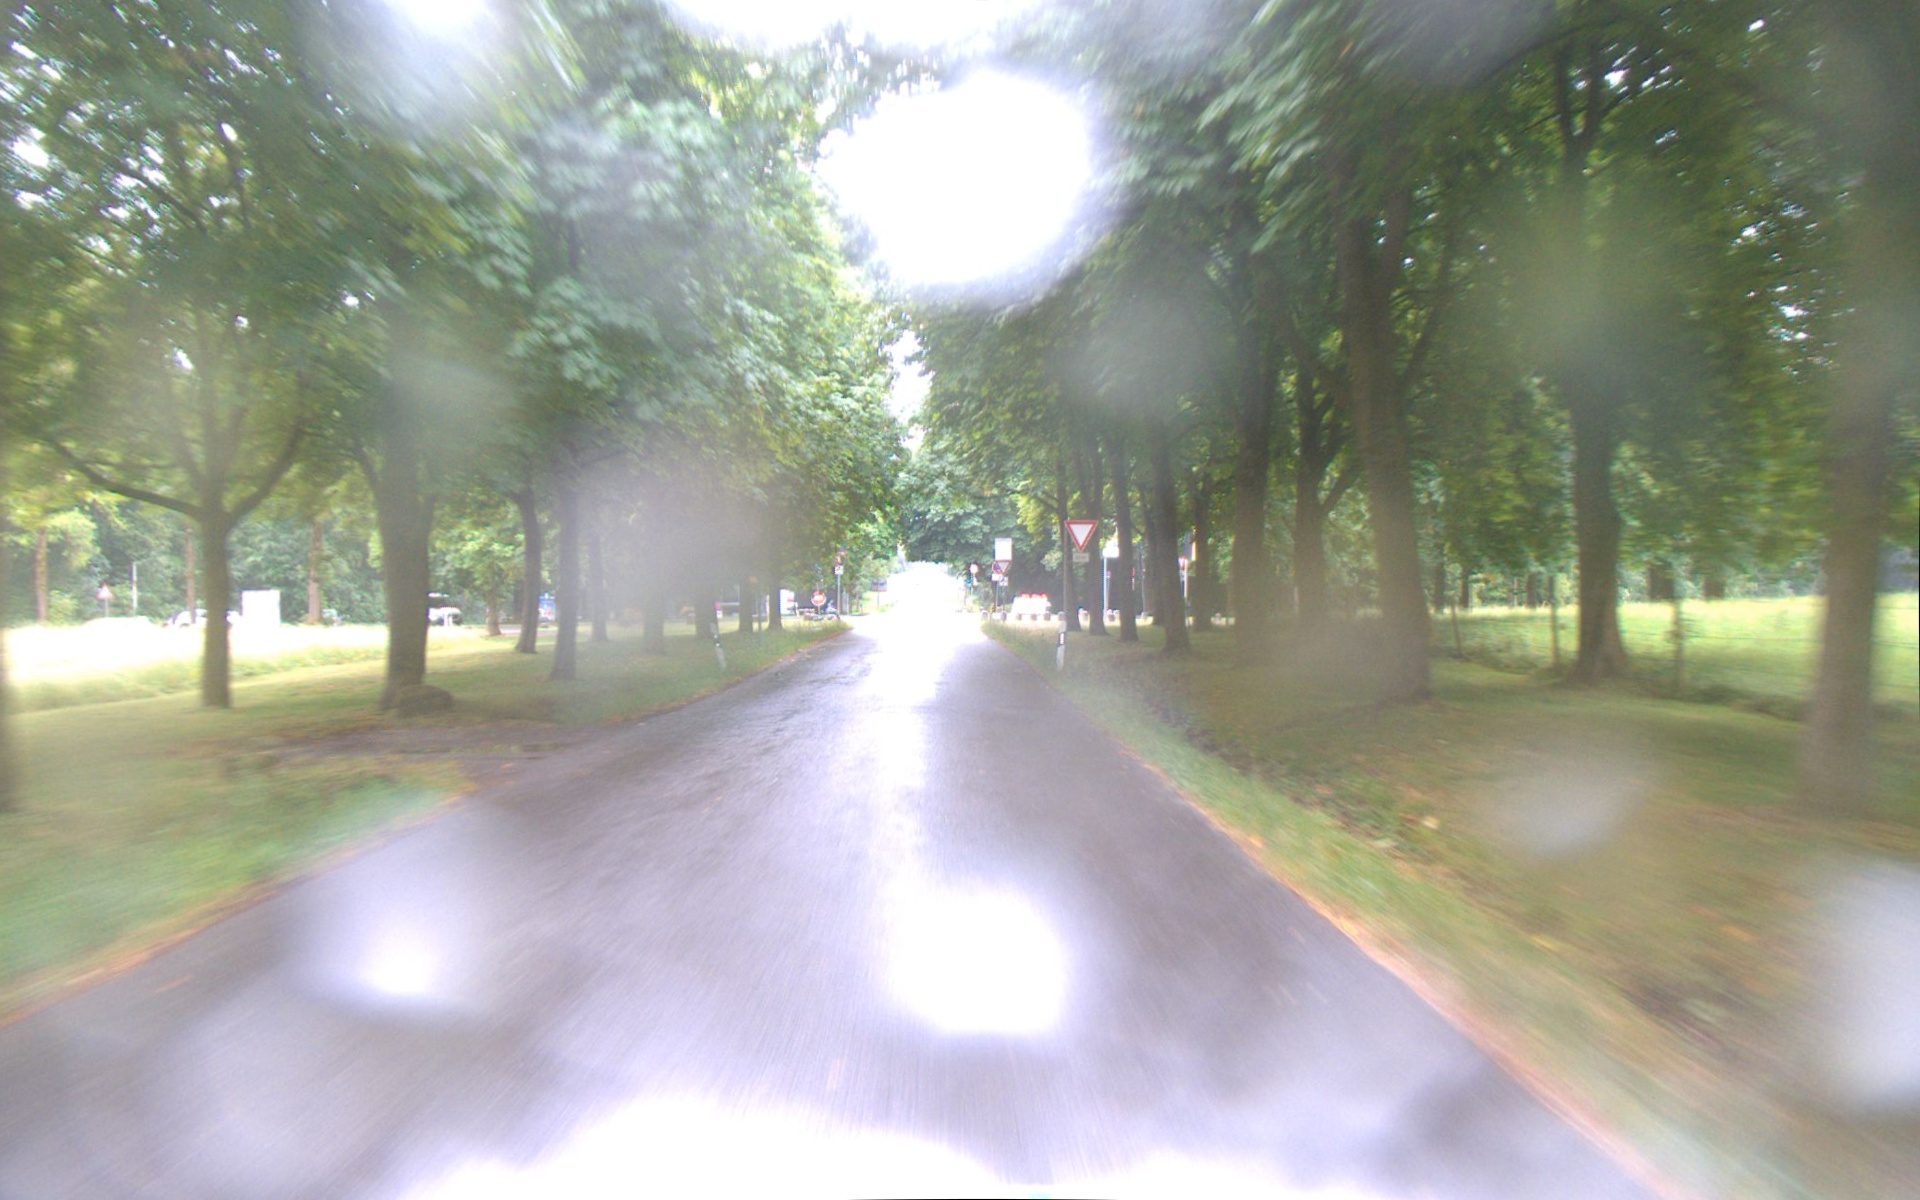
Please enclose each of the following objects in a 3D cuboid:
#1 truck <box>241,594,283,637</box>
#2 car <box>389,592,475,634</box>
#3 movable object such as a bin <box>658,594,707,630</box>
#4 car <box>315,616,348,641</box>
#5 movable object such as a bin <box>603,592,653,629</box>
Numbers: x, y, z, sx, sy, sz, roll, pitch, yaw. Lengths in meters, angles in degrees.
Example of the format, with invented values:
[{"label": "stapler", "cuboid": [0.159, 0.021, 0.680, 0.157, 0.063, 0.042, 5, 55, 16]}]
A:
[{"label": "truck", "cuboid": [-40.861, 0.898, 96.875, 1.839, 2.485, 3.335, -1, 0, -15]}, {"label": "car", "cuboid": [-32.988, 0.862, 103.281, 5.873, 2.450, 2.379, -2, -2, 41]}, {"label": "movable object such as a bin", "cuboid": [-26.790, 1.124, 159.407, 4.501, 3.352, 3.655, -1, 0, -12]}, {"label": "car", "cuboid": [-37.436, 1.675, 98.587, 1.736, 1.454, 4.084, -1, 0, -19]}, {"label": "movable object such as a bin", "cuboid": [-31.674, 0.992, 157.660, 4.573, 3.352, 3.901, -1, 0, -12]}]
